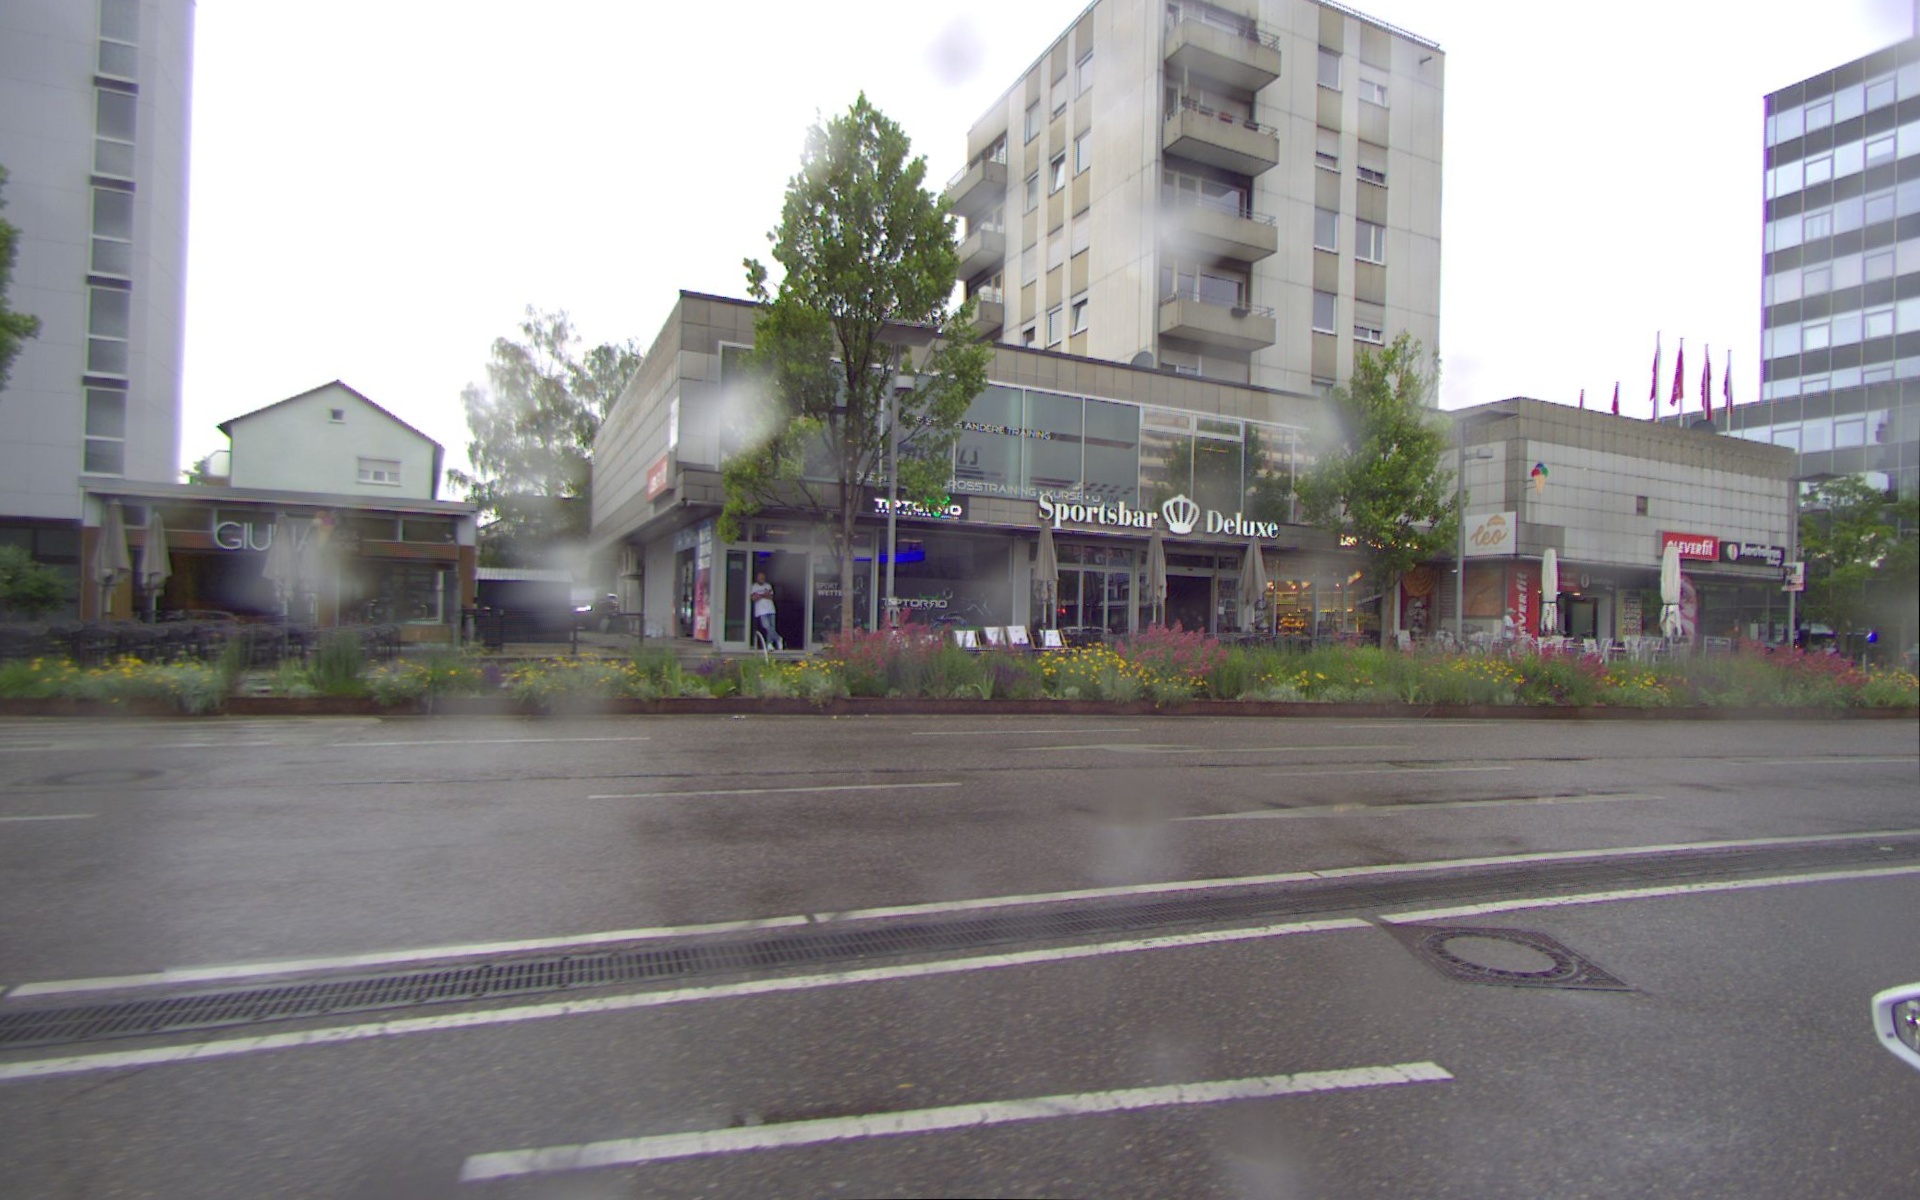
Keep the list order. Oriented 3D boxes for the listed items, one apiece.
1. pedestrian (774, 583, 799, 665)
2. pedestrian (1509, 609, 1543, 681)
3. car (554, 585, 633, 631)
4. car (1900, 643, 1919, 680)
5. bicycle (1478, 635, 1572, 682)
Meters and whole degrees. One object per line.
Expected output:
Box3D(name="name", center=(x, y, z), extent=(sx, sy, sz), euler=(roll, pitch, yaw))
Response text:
Box3D(name="pedestrian", center=(-4.017, 0.555, 23.213), extent=(0.493, 1.872, 0.426), euler=(2, -1, -15))
Box3D(name="pedestrian", center=(13.885, 1.094, 24.646), extent=(0.645, 1.715, 0.715), euler=(1, 0, 27))
Box3D(name="car", center=(-15.283, 0.355, 42.066), extent=(1.834, 1.790, 4.000), euler=(2, -1, -1))
Box3D(name="car", center=(38.938, 2.450, 38.385), extent=(1.841, 1.439, 4.041), euler=(2, -1, -19))
Box3D(name="bicycle", center=(16.549, 1.706, 29.511), extent=(0.686, 1.239, 2.540), euler=(2, -1, -21))
